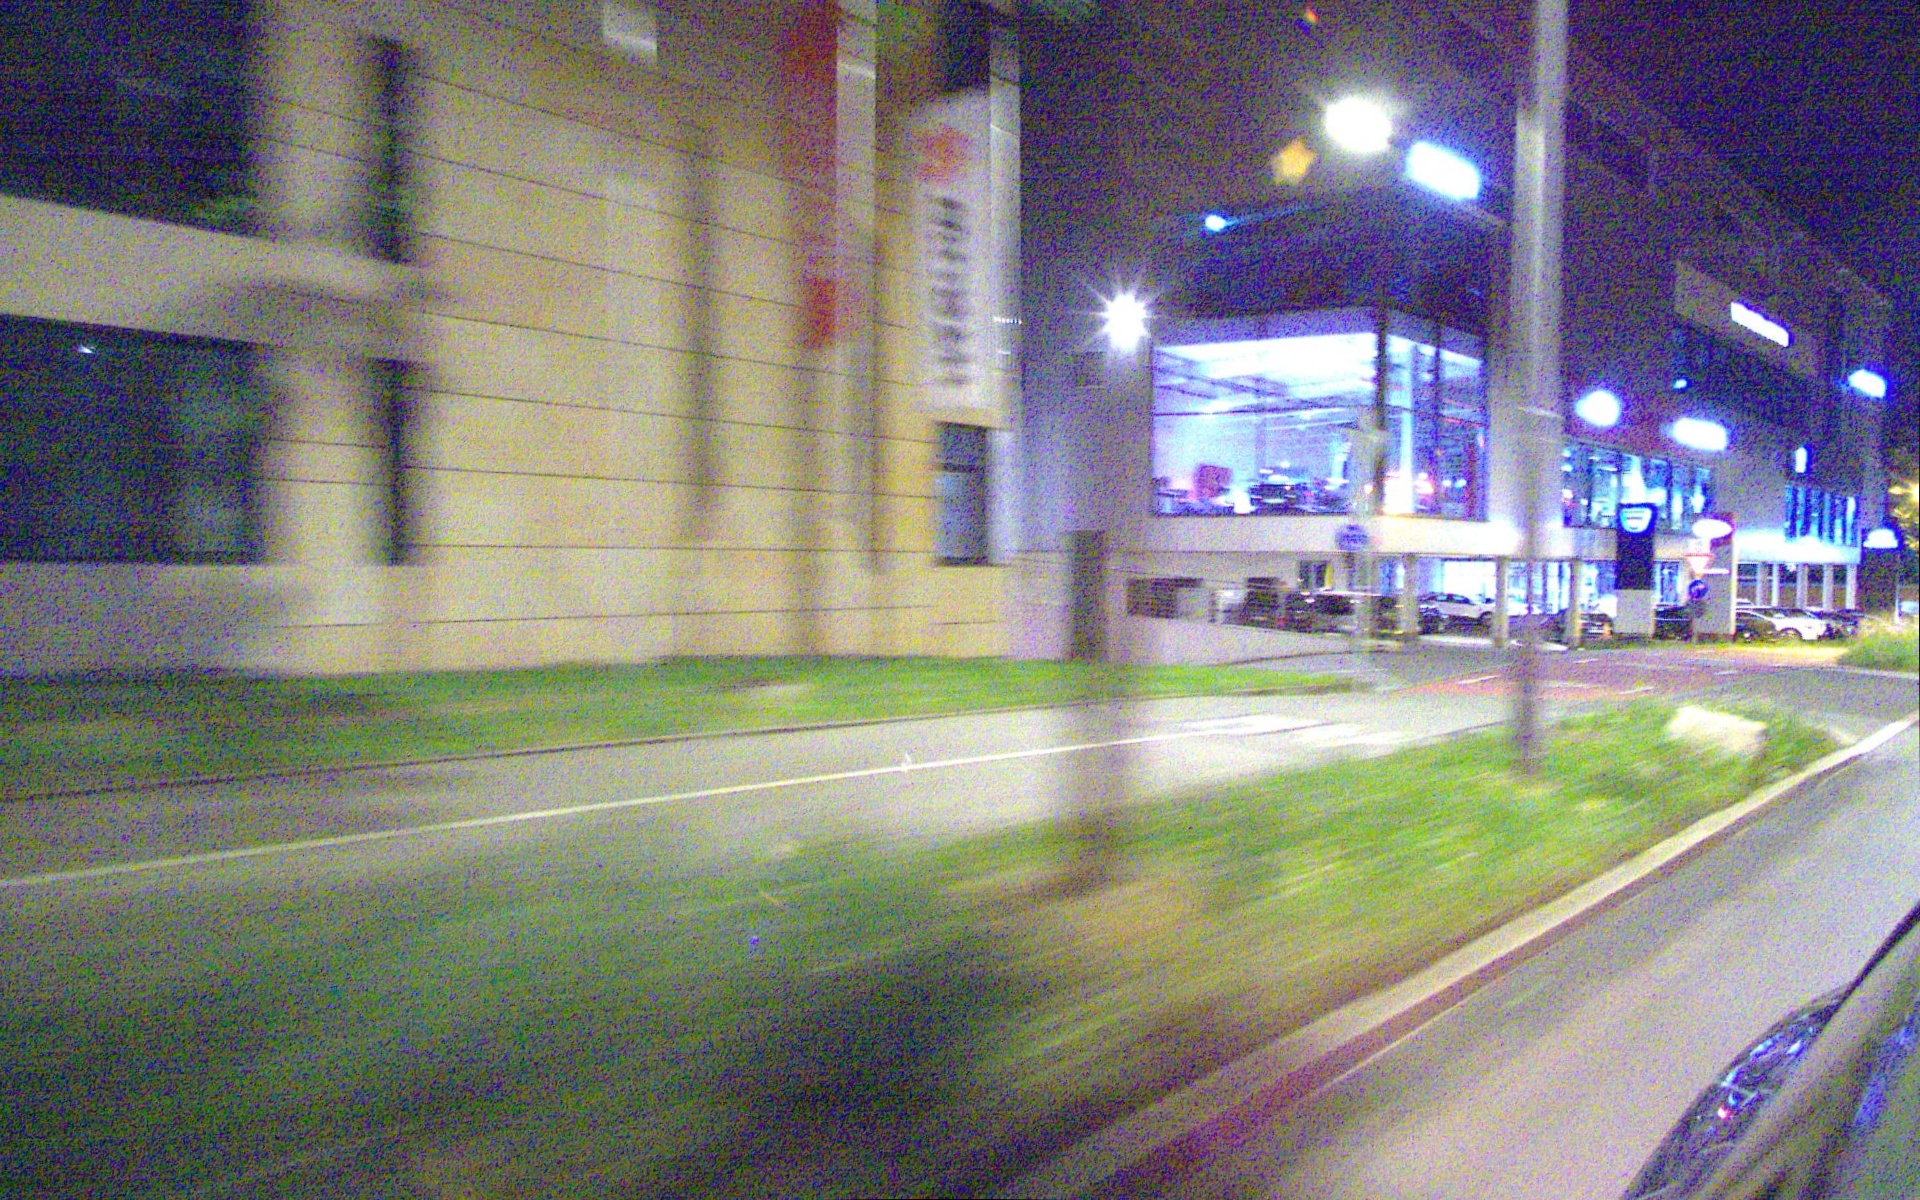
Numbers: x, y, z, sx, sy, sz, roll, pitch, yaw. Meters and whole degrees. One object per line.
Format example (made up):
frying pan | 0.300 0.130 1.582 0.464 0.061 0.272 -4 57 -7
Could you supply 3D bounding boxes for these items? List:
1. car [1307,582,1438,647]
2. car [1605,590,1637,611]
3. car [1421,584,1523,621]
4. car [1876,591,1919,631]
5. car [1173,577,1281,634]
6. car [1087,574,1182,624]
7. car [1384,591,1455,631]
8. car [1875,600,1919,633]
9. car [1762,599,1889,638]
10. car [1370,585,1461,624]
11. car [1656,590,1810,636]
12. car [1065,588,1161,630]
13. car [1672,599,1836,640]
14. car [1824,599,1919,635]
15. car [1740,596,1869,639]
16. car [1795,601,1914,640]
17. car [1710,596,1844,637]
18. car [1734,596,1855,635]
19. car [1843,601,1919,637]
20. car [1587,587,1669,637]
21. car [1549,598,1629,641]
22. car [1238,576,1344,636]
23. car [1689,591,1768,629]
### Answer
car | 14.183 0.484 34.624 5.532 2.039 1.996 1 0 -43
car | 54.813 0.039 83.988 1.984 1.682 4.617 2 1 31
car | 25.532 0.110 50.578 4.262 1.675 1.649 1 0 17
car | 68.209 0.998 70.526 6.008 2.559 2.253 9 4 37
car | 10.090 0.208 38.100 4.335 2.019 1.953 1 0 -44
car | 7.508 -0.066 43.636 3.705 2.039 1.720 2 0 44
car | 20.114 0.435 44.267 3.359 1.531 1.635 -2 4 -43
car | 55.885 1.107 58.404 4.464 1.707 1.969 9 5 43
car | 38.493 0.817 45.151 3.970 1.409 1.806 5 1 32
car | 21.577 0.171 48.018 1.716 1.604 3.491 -1 4 -36
car | 26.582 0.418 34.876 4.116 1.438 1.850 1 0 40
car | 6.210 0.324 41.362 1.589 1.467 3.729 -1 3 -41
car | 30.132 0.727 38.595 4.603 1.280 1.927 2 0 29
car | 46.621 0.842 51.581 3.799 1.470 1.693 6 3 40
car | 36.225 0.705 43.558 3.975 1.488 1.810 5 2 34
car | 42.880 0.942 48.646 4.017 1.390 1.801 7 4 38
car | 32.300 0.644 40.161 3.976 1.442 1.884 2 0 36
car | 34.317 0.605 41.728 3.583 1.451 1.662 2 0 30
car | 50.983 1.073 54.881 4.466 1.565 1.742 9 6 44
car | 28.482 0.463 43.297 1.564 1.817 3.858 1 3 12
car | 25.305 0.742 40.861 1.755 1.426 4.314 2 2 19
car | 12.007 0.218 36.564 4.335 2.019 1.813 1 0 -44
car | 42.802 0.525 56.497 1.810 1.942 4.803 1 0 16
